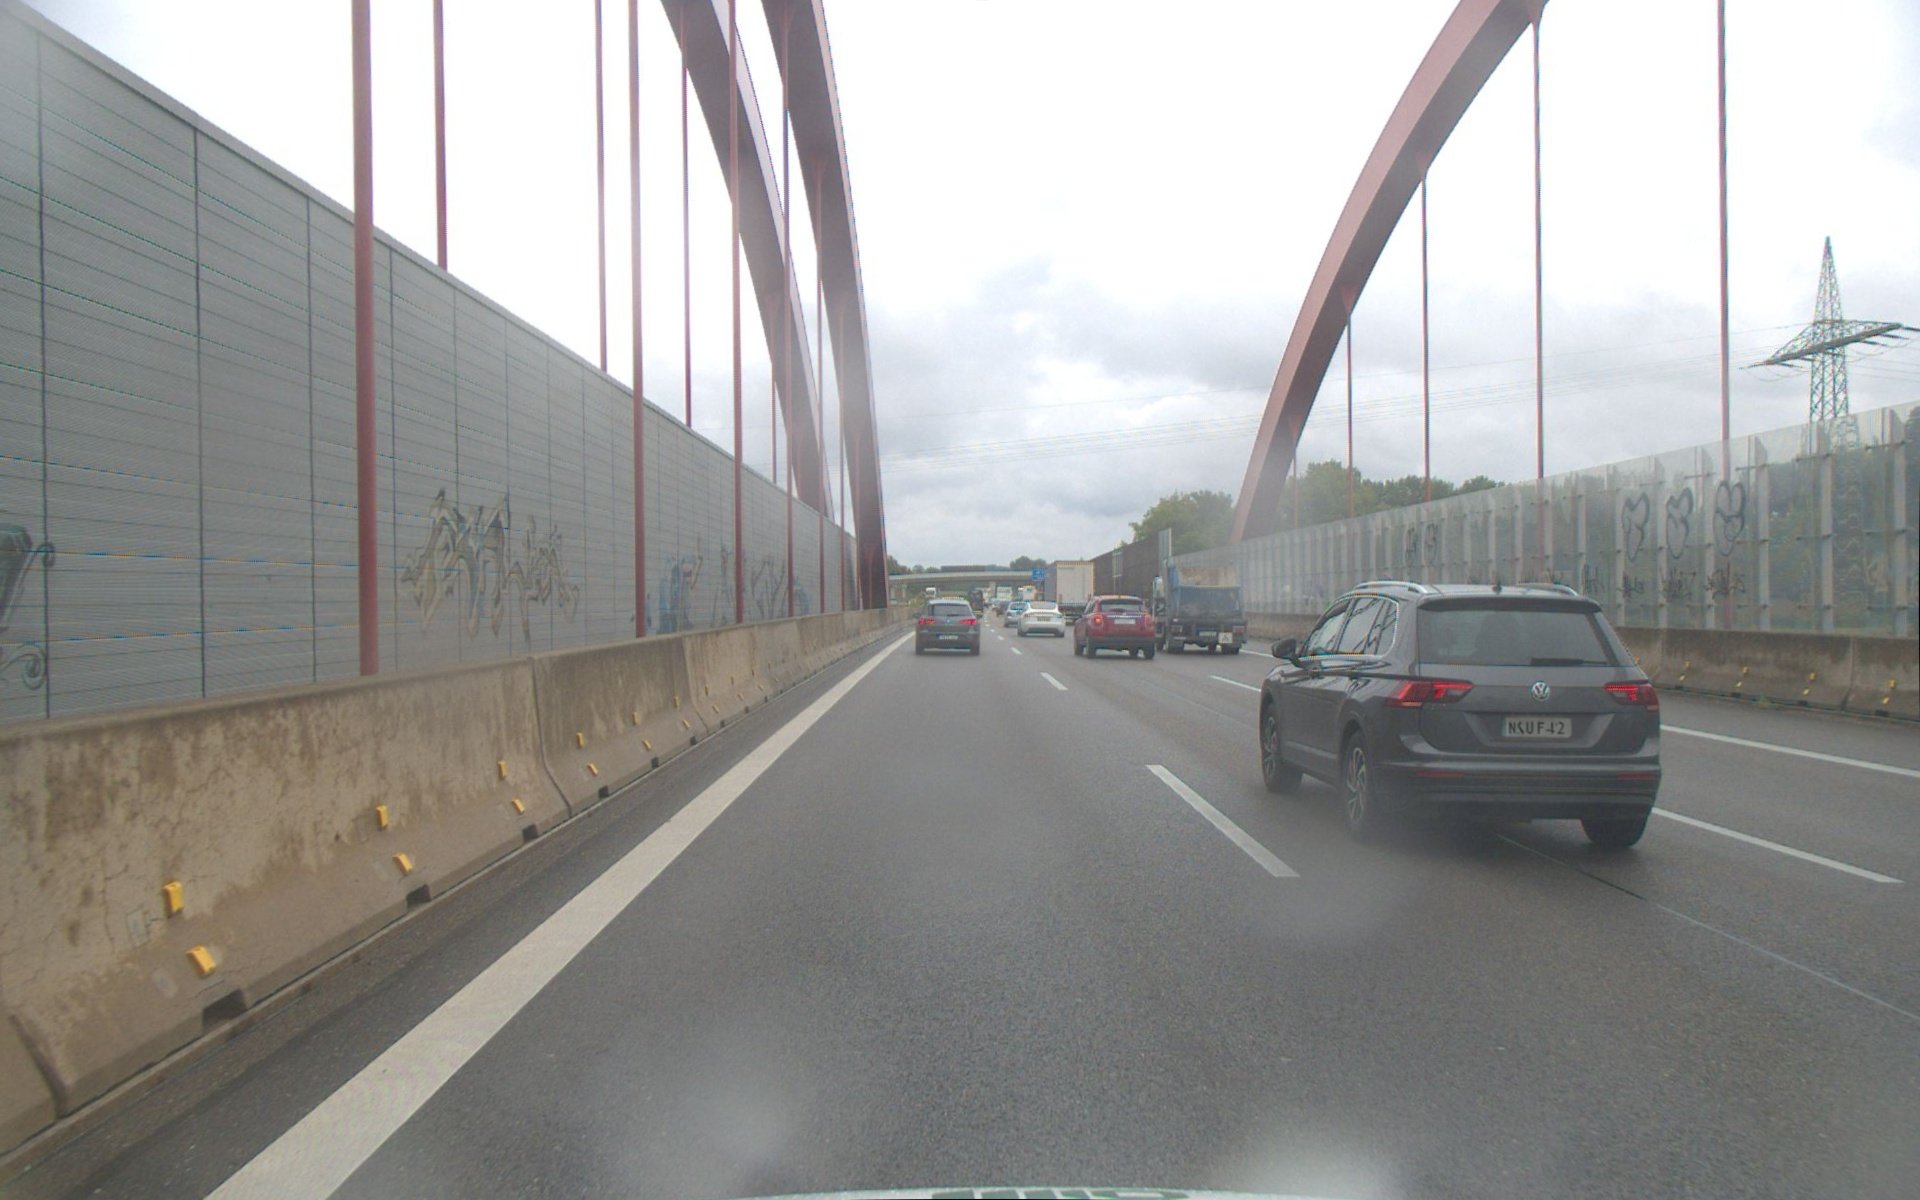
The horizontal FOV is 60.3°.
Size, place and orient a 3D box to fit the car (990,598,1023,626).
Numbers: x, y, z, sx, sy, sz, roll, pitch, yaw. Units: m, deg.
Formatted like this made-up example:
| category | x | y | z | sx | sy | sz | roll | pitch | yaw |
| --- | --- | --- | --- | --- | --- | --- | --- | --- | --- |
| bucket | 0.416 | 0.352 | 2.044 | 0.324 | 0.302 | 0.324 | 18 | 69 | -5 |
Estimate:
| category | x | y | z | sx | sy | sz | roll | pitch | yaw |
| --- | --- | --- | --- | --- | --- | --- | --- | --- | --- |
| car | 2.687 | 0.696 | 95.727 | 1.668 | 1.570 | 3.837 | 0 | 0 | -2 |

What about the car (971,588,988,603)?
| category | x | y | z | sx | sy | sz | roll | pitch | yaw |
| --- | --- | --- | --- | --- | --- | --- | --- | --- | --- |
| car | 2.282 | -0.505 | 191.505 | 1.952 | 1.652 | 4.001 | 0 | 0 | 1 |

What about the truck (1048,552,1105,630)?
| category | x | y | z | sx | sy | sz | roll | pitch | yaw |
| --- | --- | --- | --- | --- | --- | --- | --- | --- | --- |
| truck | 7.530 | -0.560 | 107.867 | 2.982 | 4.817 | 7.678 | 1 | 0 | -1 |

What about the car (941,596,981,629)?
| category | x | y | z | sx | sy | sz | roll | pitch | yaw |
| --- | --- | --- | --- | --- | --- | --- | --- | --- | --- |
| car | 0.025 | 0.556 | 75.401 | 1.746 | 1.431 | 3.625 | 0 | 0 | -2 |

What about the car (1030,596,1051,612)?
| category | x | y | z | sx | sy | sz | roll | pitch | yaw |
| --- | --- | --- | --- | --- | --- | --- | --- | --- | --- |
| car | 8.197 | 0.391 | 169.196 | 1.952 | 1.545 | 4.000 | 0 | 0 | 0 |

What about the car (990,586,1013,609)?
| category | x | y | z | sx | sy | sz | roll | pitch | yaw |
| --- | --- | --- | --- | --- | --- | --- | --- | --- | --- |
| car | 3.819 | -0.210 | 153.451 | 1.953 | 2.049 | 3.999 | 1 | 0 | -1 |

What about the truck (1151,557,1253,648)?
| category | x | y | z | sx | sy | sz | roll | pitch | yaw |
| --- | --- | --- | --- | --- | --- | --- | --- | --- | --- |
| truck | 7.166 | 0.064 | 49.591 | 2.312 | 2.550 | 6.145 | 0 | 0 | 2 |

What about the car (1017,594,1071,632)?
| category | x | y | z | sx | sy | sz | roll | pitch | yaw |
| --- | --- | --- | --- | --- | --- | --- | --- | --- | --- |
| car | 3.448 | 0.500 | 68.558 | 1.953 | 1.512 | 3.999 | 0 | 0 | -2 |

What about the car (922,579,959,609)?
| category | x | y | z | sx | sy | sz | roll | pitch | yaw |
| --- | --- | --- | --- | --- | --- | --- | --- | --- | --- |
| car | -1.116 | -0.345 | 92.211 | 1.953 | 1.612 | 3.998 | -1 | 0 | -2 |

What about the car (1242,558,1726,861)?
| category | x | y | z | sx | sy | sz | roll | pitch | yaw |
| --- | --- | --- | --- | --- | --- | --- | --- | --- | --- |
| car | 3.319 | 0.618 | 11.397 | 1.873 | 1.699 | 4.102 | 0 | 0 | -3 |

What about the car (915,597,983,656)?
| category | x | y | z | sx | sy | sz | roll | pitch | yaw |
| --- | --- | --- | --- | --- | --- | --- | --- | --- | --- |
| car | -0.292 | 0.669 | 44.299 | 1.728 | 1.478 | 3.999 | 0 | 0 | -1 |

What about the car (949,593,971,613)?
| category | x | y | z | sx | sy | sz | roll | pitch | yaw |
| --- | --- | --- | --- | --- | --- | --- | --- | --- | --- |
| car | -0.031 | 0.268 | 157.350 | 1.953 | 1.847 | 3.999 | 0 | 0 | -1 |

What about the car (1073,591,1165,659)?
| category | x | y | z | sx | sy | sz | roll | pitch | yaw |
| --- | --- | --- | --- | --- | --- | --- | --- | --- | --- |
| car | 4.141 | 0.609 | 43.722 | 1.918 | 1.676 | 3.999 | -1 | 0 | -2 |
